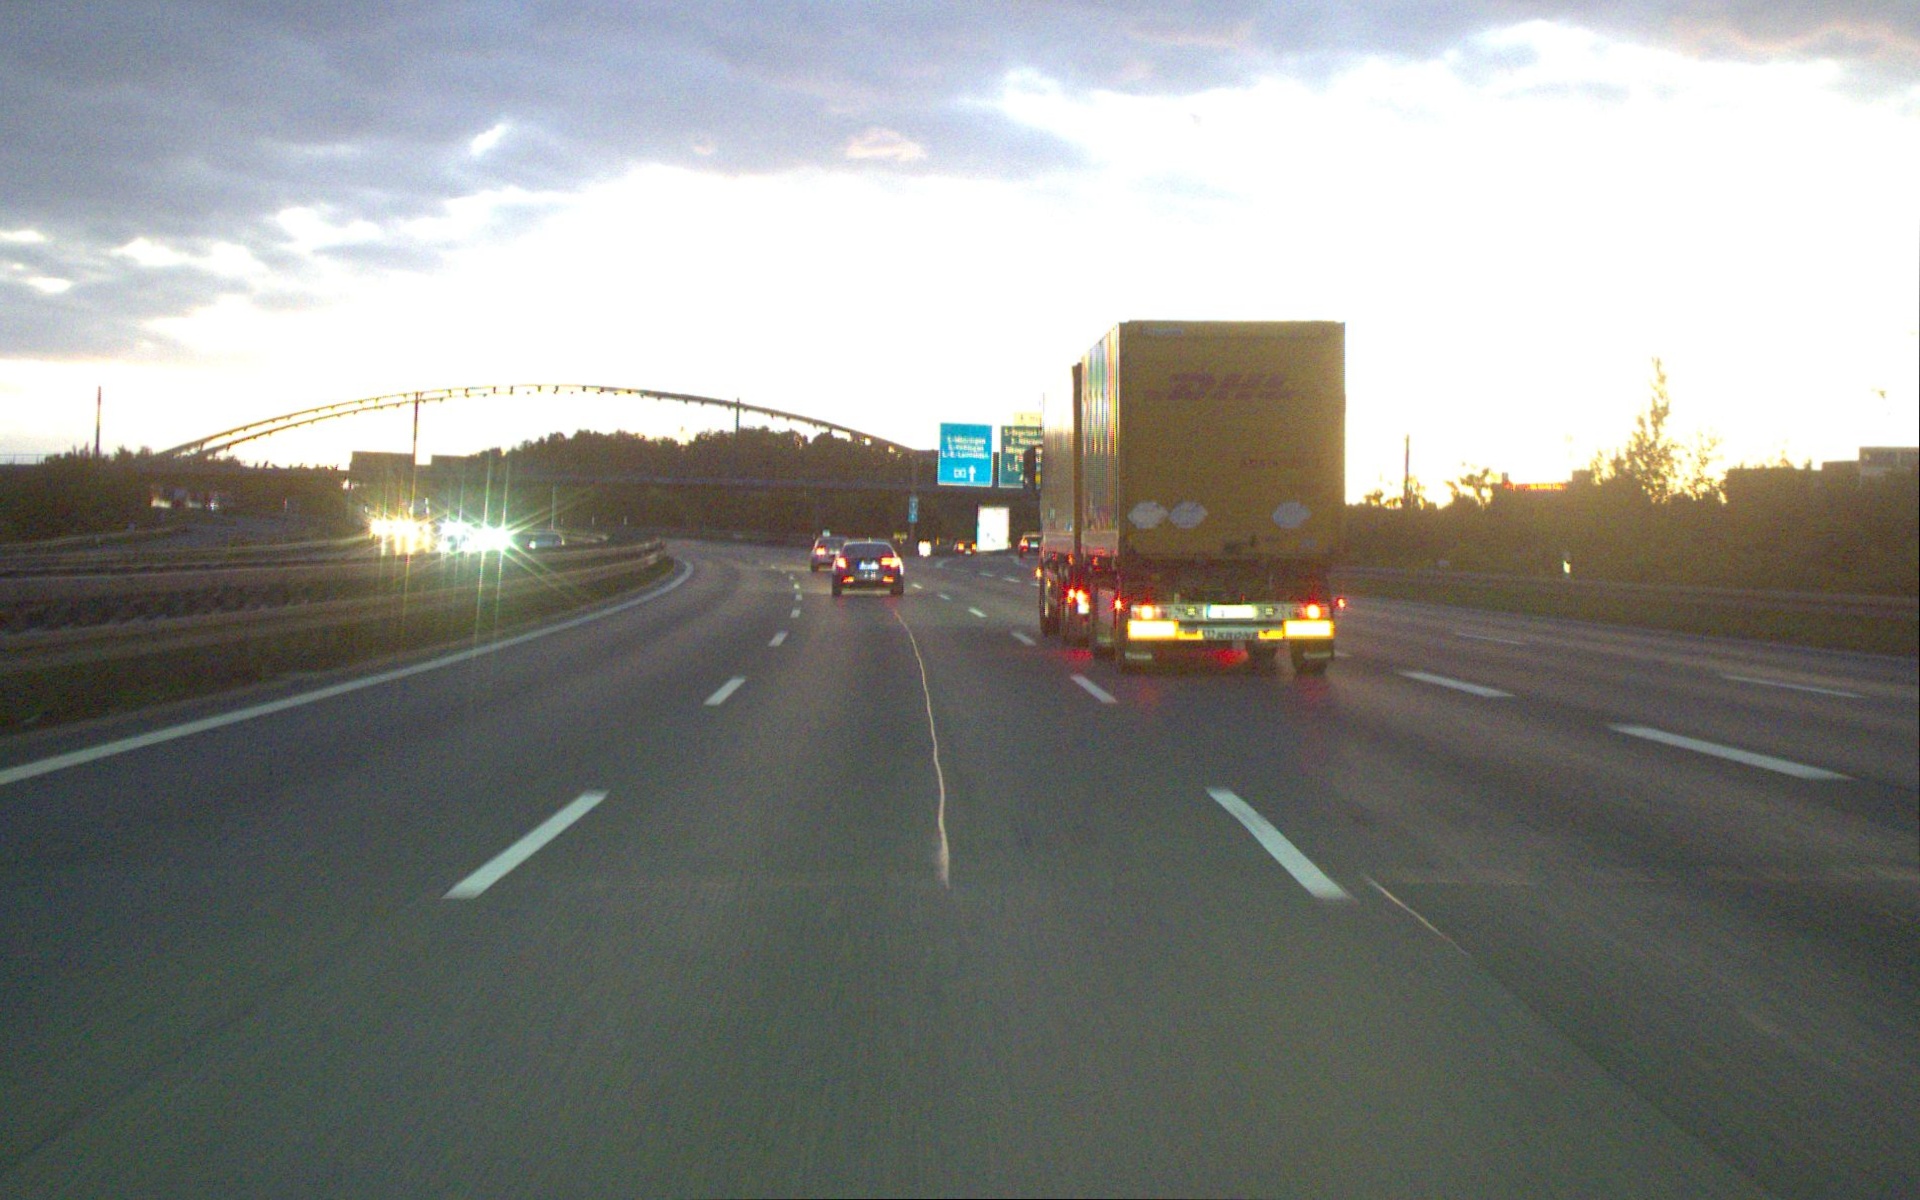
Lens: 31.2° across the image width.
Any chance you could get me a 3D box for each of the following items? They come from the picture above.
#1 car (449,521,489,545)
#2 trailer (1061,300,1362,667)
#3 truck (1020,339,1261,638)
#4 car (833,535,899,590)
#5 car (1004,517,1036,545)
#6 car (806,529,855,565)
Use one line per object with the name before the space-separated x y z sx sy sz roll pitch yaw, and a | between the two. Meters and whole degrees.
car | -26.209 -3.595 183.705 1.721 1.223 4.184 0 1 -2
trailer | 2.923 -1.396 42.556 2.721 4.057 8.832 0 1 -2
truck | 2.556 -1.649 52.226 2.690 4.057 10.521 0 1 -2
car | -2.496 -0.984 90.364 1.689 1.396 3.409 0 0 -2
car | 3.934 -4.529 225.396 1.994 1.711 3.999 1 0 3
car | -5.403 -2.200 143.329 1.690 1.397 3.408 0 0 4
